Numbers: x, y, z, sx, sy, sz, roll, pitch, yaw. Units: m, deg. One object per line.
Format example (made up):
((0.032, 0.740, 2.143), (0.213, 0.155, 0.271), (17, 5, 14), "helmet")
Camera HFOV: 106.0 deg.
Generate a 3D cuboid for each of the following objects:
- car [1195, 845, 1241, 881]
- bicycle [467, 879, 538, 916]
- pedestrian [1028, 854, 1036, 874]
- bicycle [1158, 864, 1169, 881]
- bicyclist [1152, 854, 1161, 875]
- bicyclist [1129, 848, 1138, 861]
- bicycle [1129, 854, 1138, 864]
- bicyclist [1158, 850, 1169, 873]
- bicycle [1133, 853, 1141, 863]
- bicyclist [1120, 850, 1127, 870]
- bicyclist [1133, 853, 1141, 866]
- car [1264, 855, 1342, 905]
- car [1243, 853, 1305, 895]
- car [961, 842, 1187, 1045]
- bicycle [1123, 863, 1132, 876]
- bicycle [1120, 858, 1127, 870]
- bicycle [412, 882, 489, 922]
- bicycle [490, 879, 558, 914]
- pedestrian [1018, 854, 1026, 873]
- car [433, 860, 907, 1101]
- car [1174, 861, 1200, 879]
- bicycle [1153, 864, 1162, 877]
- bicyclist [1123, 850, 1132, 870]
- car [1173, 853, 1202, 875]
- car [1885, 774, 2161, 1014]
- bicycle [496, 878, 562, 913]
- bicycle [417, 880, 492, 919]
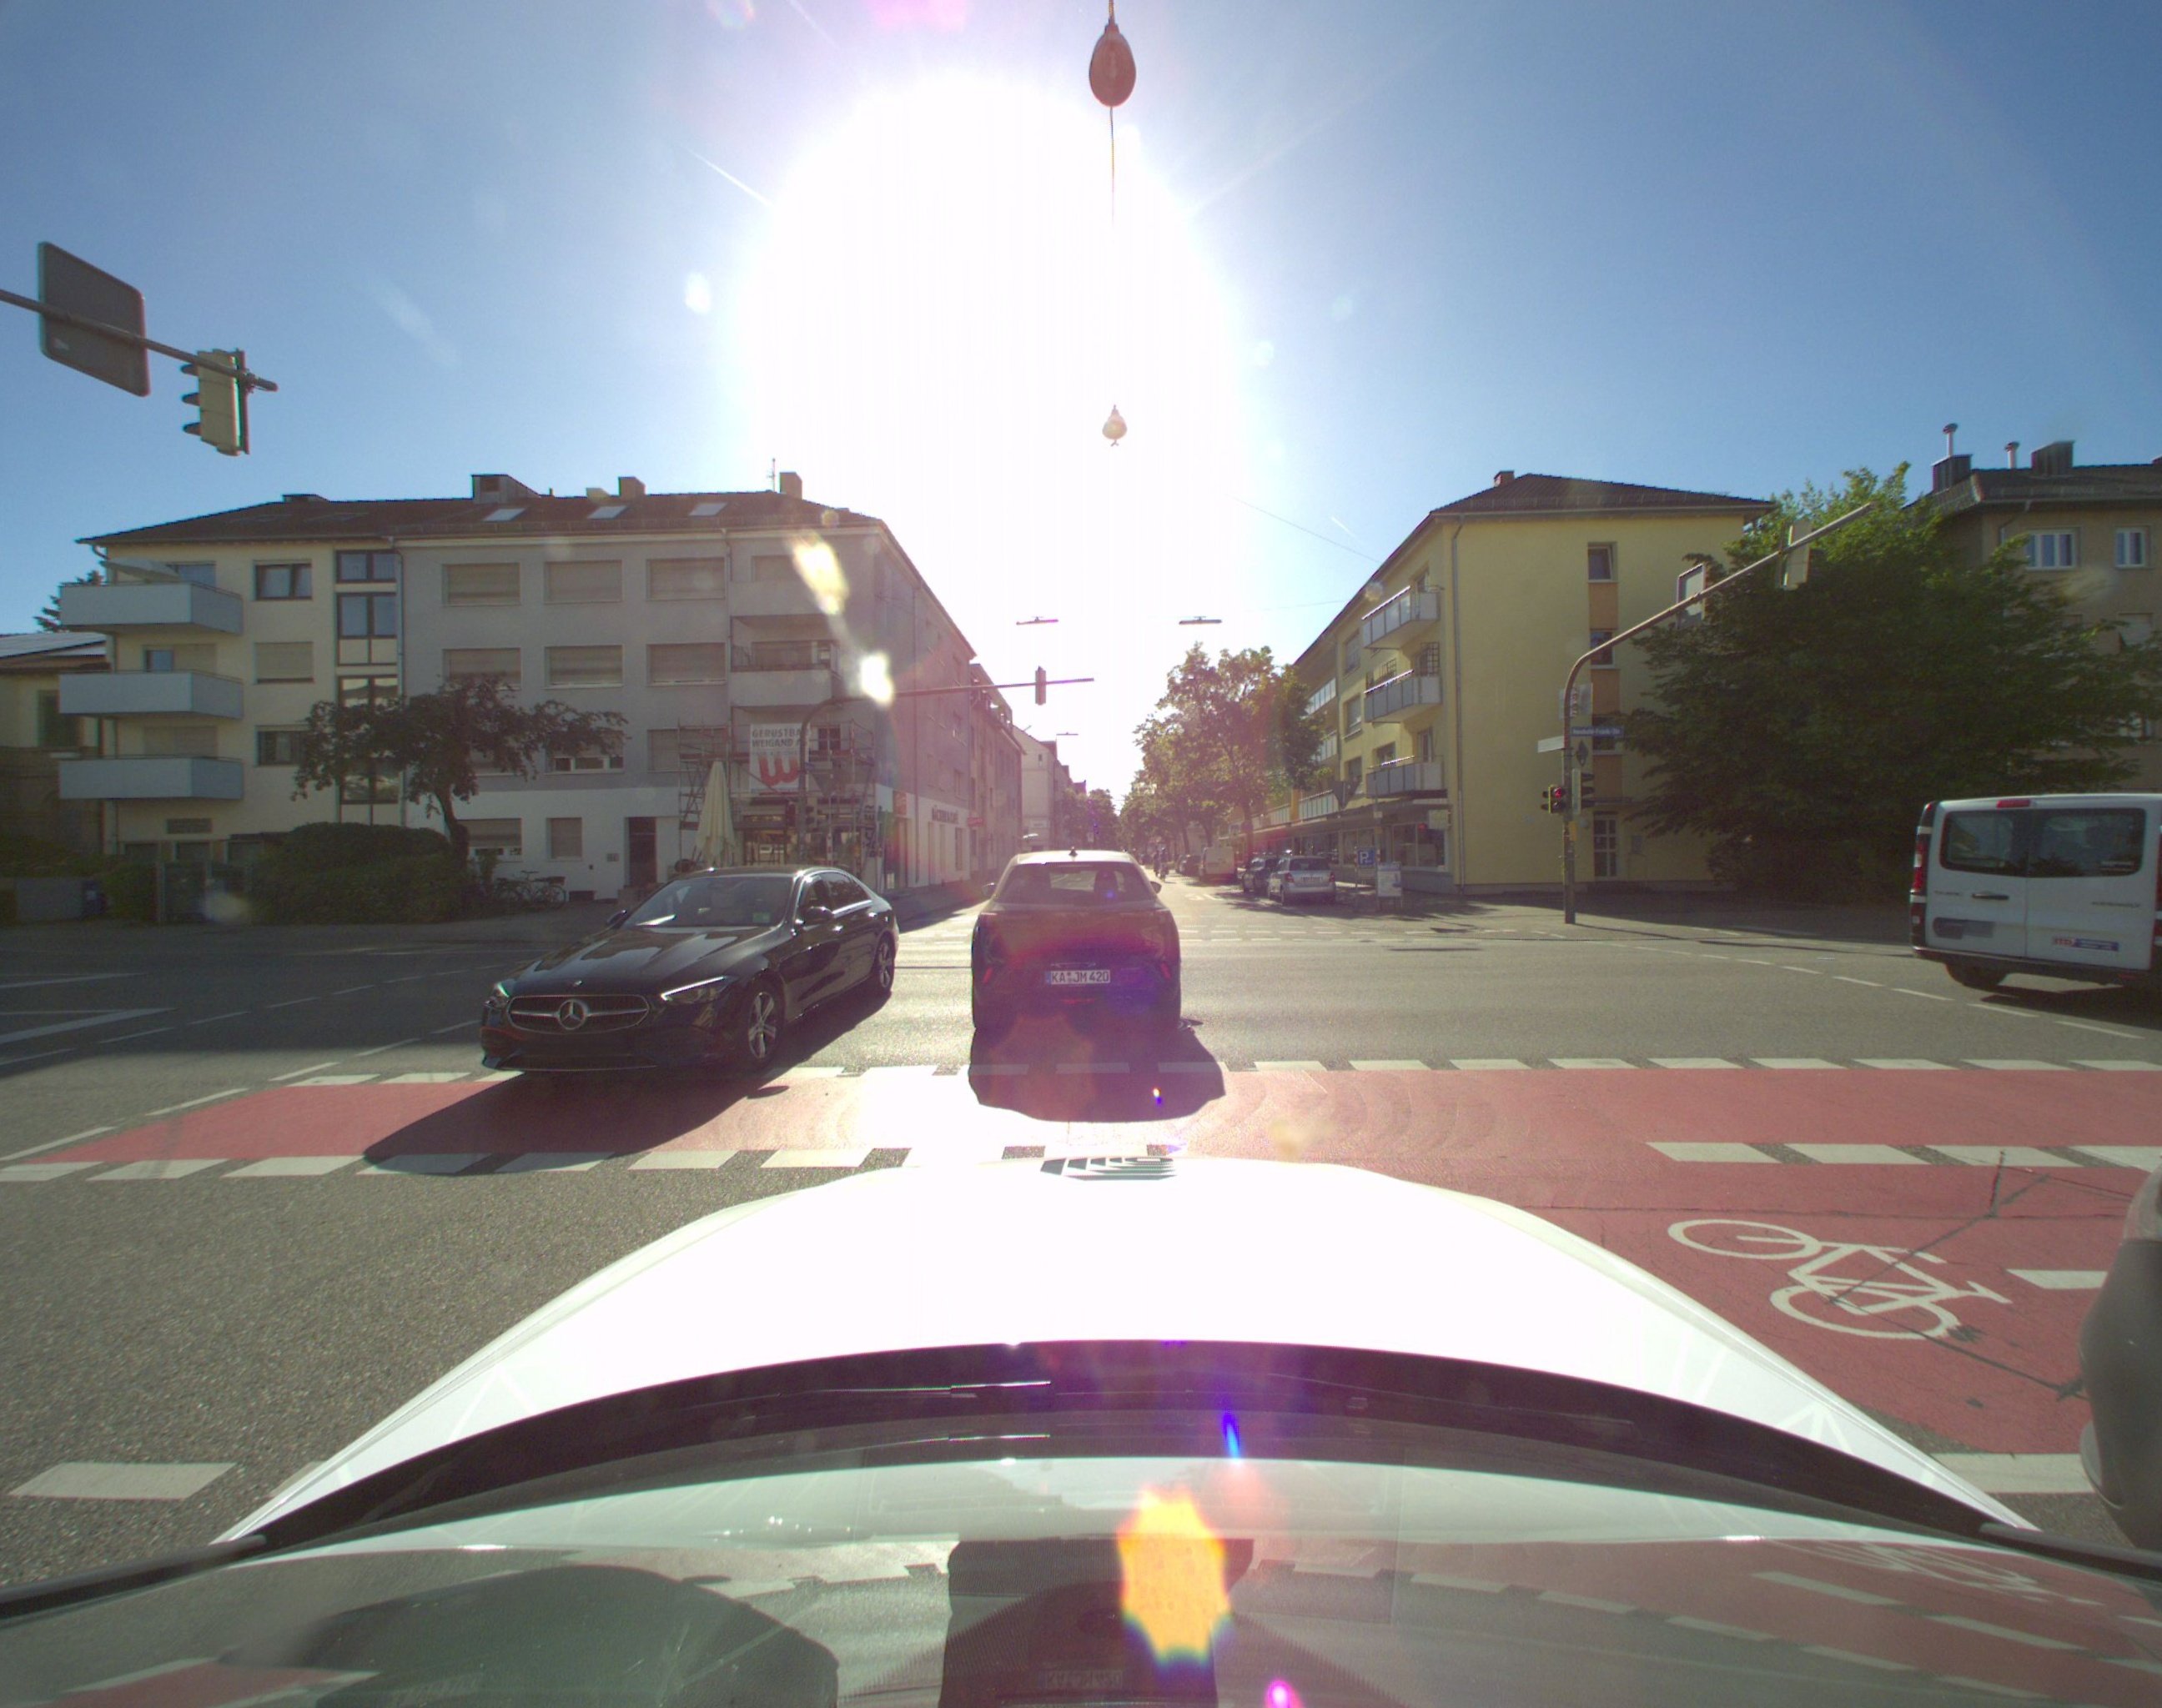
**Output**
((7.467, 0.464, 44.720), (2.037, 1.846, 4.588), (-1, 0, 4), "car")
((-15.701, 1.185, 22.127), (1.581, 0.940, 0.513), (-1, 0, 4), "bicycle")
((-3.793, 0.773, 63.050), (0.575, 1.583, 0.707), (-1, 0, -3), "pedestrian")
((4.590, 1.005, 45.273), (0.544, 0.866, 1.878), (-1, 0, 4), "bicycle")
((5.028, 0.678, 53.949), (0.544, 1.382, 0.823), (-1, 0, 3), "bicyclist")
((5.364, 0.071, 82.987), (0.853, 1.314, 1.211), (1, 0, 2), "bicyclist")
((5.349, 0.533, 83.046), (0.853, 0.945, 2.309), (1, 0, 2), "bicycle")
((4.570, 0.436, 45.204), (0.544, 1.262, 0.803), (-1, 0, 3), "bicyclist")
((5.022, 0.346, 73.274), (0.688, 0.866, 1.878), (-1, 0, 4), "bicycle")
((3.771, 0.530, 72.481), (0.630, 1.669, 1.051), (-2, 0, 2), "bicyclist")
((5.036, 0.516, 73.469), (0.689, 1.193, 0.595), (-1, 0, 3), "bicyclist")
((7.044, 0.781, 26.146), (1.706, 1.483, 3.482), (-1, 0, 3), "car")
((7.244, 0.715, 30.846), (1.706, 1.483, 3.383), (-1, 0, 3), "car")
((-0.111, 0.714, 8.411), (1.758, 1.558, 3.997), (-1, 0, -2), "car")
((3.162, 1.048, 55.592), (0.617, 0.866, 1.878), (-1, 0, 4), "bicycle")
((3.800, 0.862, 72.857), (0.630, 1.041, 1.796), (-2, 0, 2), "bicycle")
((-16.023, 1.219, 20.694), (1.581, 0.940, 0.513), (-1, 0, 4), "bicycle")
((-15.632, 1.191, 22.877), (1.581, 0.940, 0.513), (-1, 0, 4), "bicycle")
((-4.600, 0.737, 63.185), (0.575, 1.467, 0.702), (-1, 0, -3), "pedestrian")
((-3.086, 0.826, 7.370), (1.797, 1.413, 4.429), (-3, 0, 3), "car")
((8.148, 1.216, 63.027), (1.706, 1.314, 3.383), (-1, 0, 3), "car")
((5.044, 1.081, 53.992), (0.544, 0.866, 1.878), (-1, 0, 4), "bicycle")
((3.155, 0.401, 55.639), (0.586, 1.382, 0.823), (-1, 0, 3), "bicyclist")
((7.439, 0.672, 57.065), (1.706, 1.483, 3.383), (-1, 0, 3), "car")
((10.991, 0.348, 8.073), (5.045, 1.940, 1.966), (1, 0, -14), "car")
((-15.966, 1.198, 23.572), (1.581, 0.940, 0.513), (-1, 0, 4), "bicycle")
((-16.362, 1.187, 21.283), (1.581, 0.940, 0.513), (-1, 0, 4), "bicycle")
